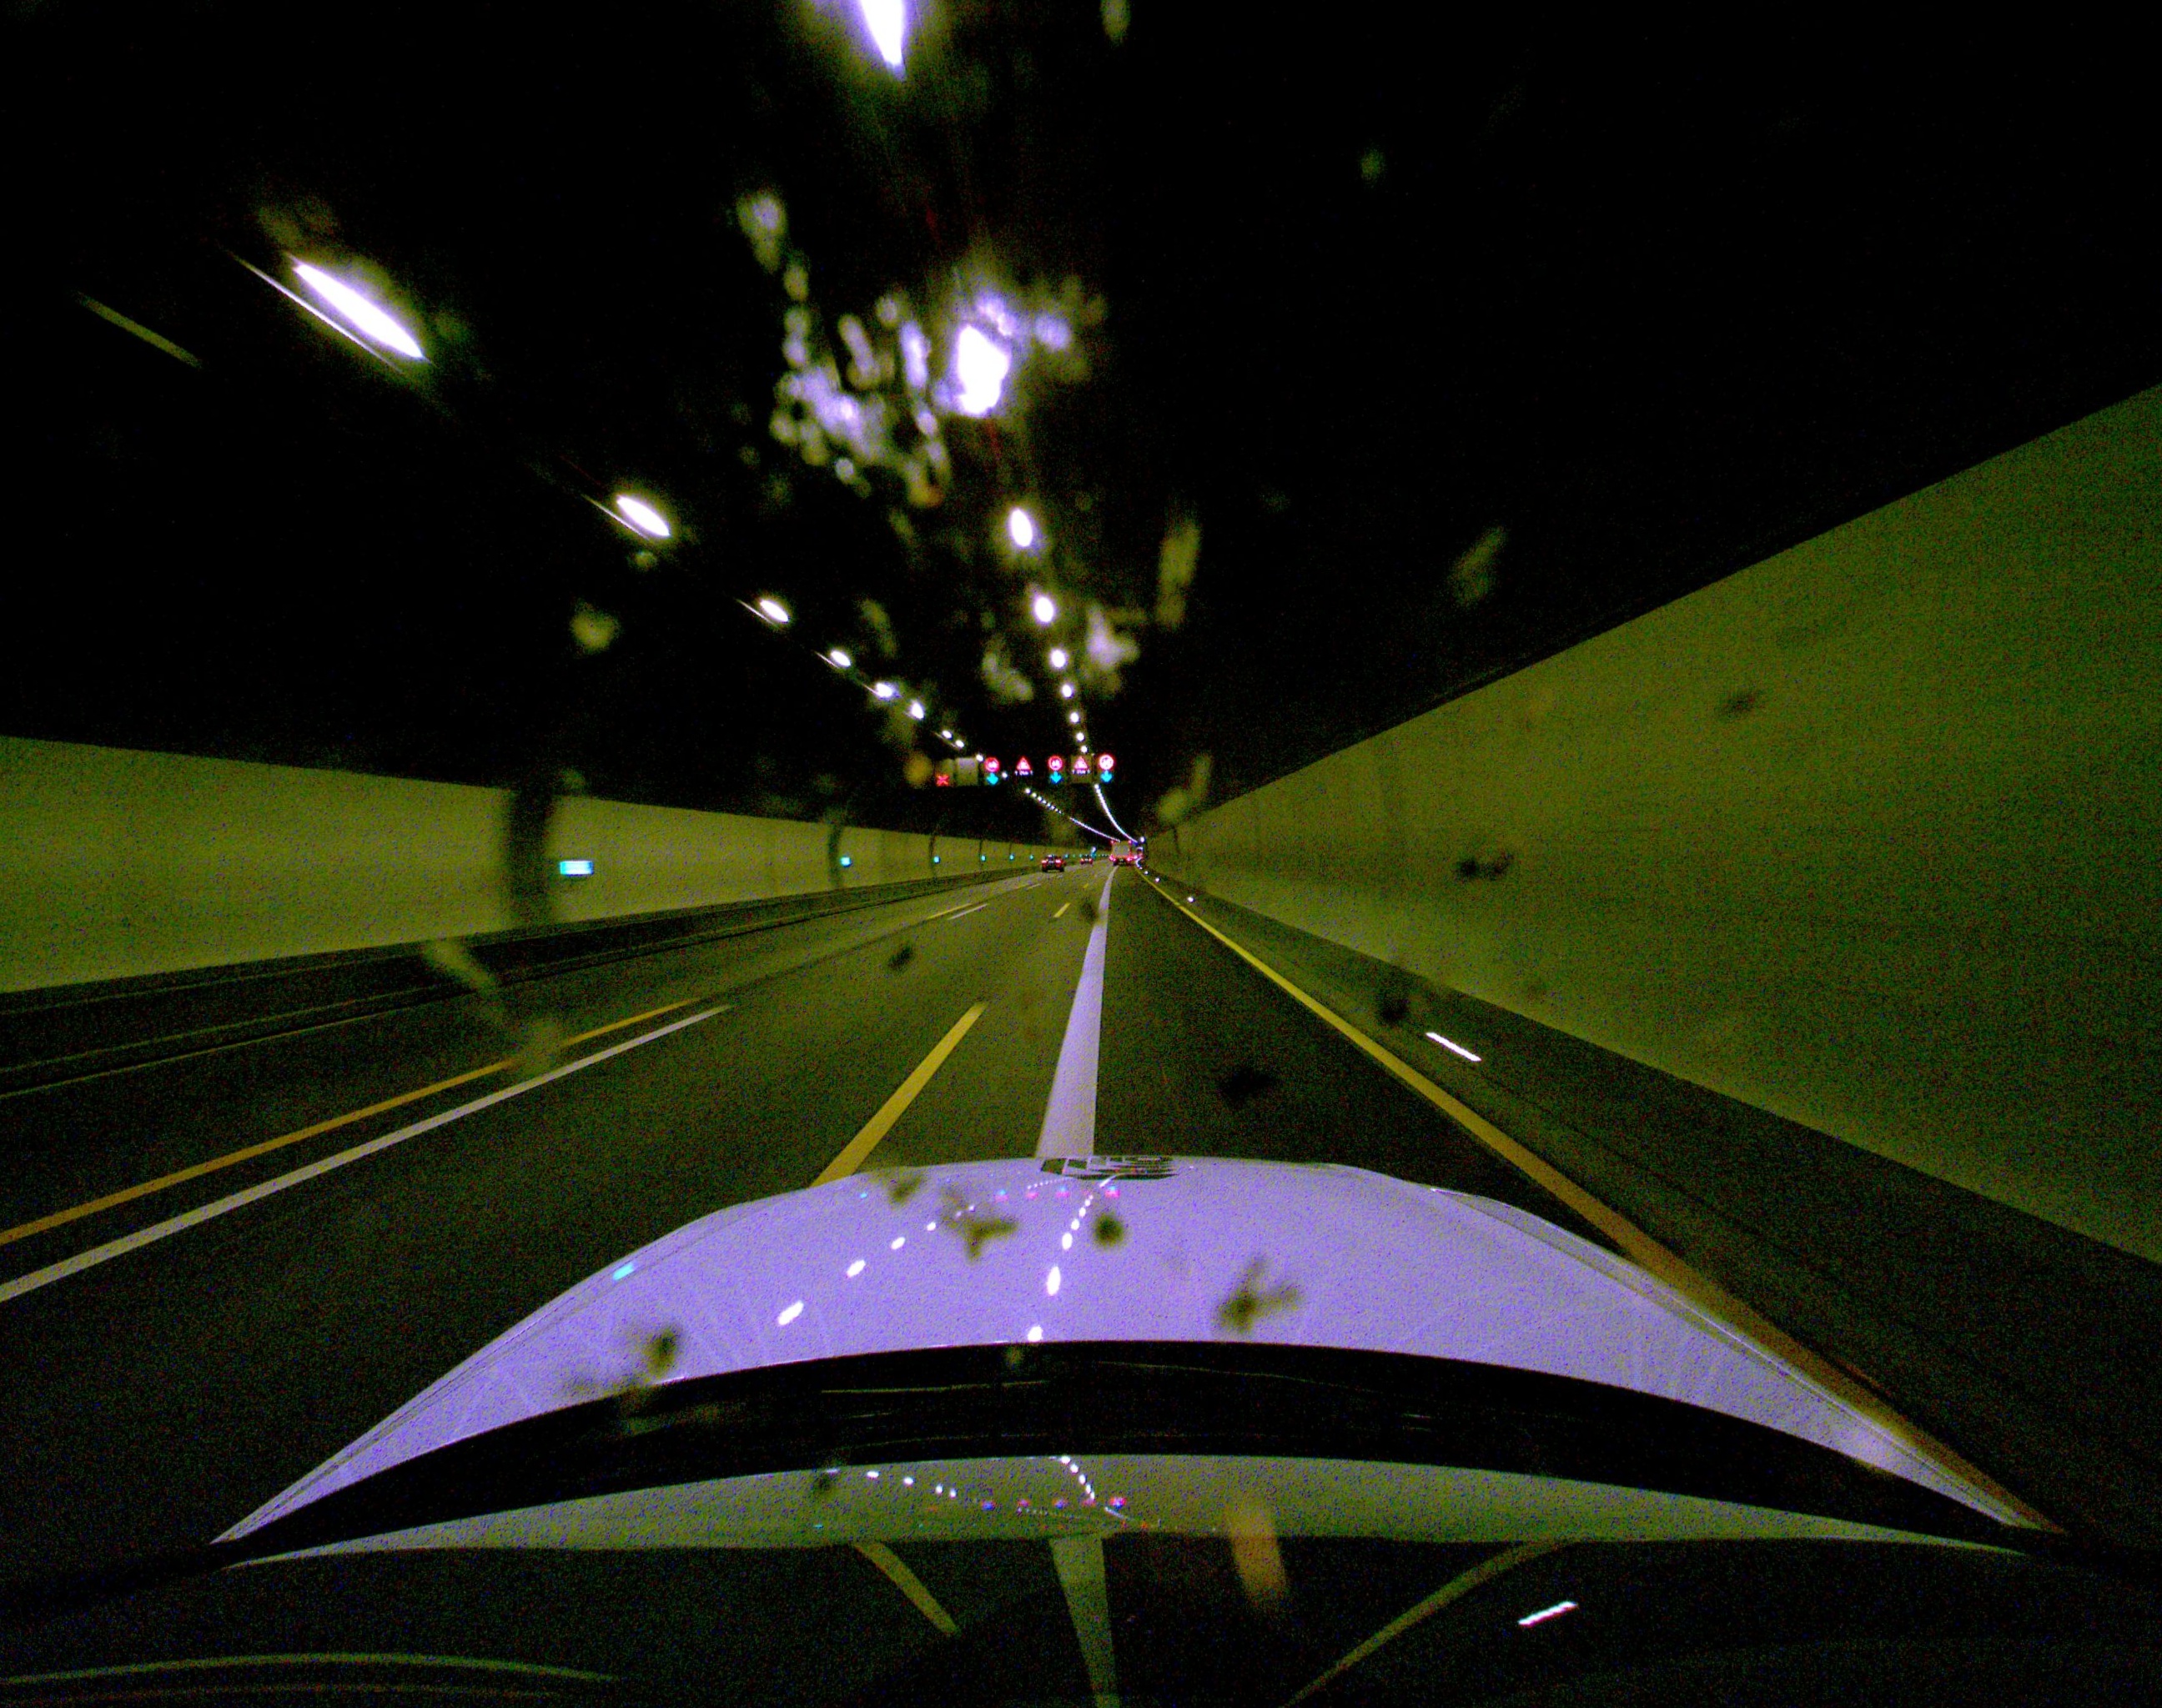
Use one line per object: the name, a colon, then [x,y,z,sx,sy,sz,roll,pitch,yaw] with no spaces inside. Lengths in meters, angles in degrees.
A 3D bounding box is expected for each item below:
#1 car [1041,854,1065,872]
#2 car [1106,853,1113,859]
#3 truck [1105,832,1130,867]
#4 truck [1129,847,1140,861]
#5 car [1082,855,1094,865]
car: [-2.532,0.807,74.799,1.805,1.618,4.003,-1,0,2]
car: [6.884,0.481,195.247,1.645,1.274,4.002,-1,1,1]
truck: [5.417,-0.614,122.882,3.267,4.650,17.291,-2,0,1]
truck: [16.198,-0.020,247.893,2.910,4.048,14.042,-2,0,3]
car: [1.106,0.957,132.484,1.806,1.520,4.002,-1,1,1]
